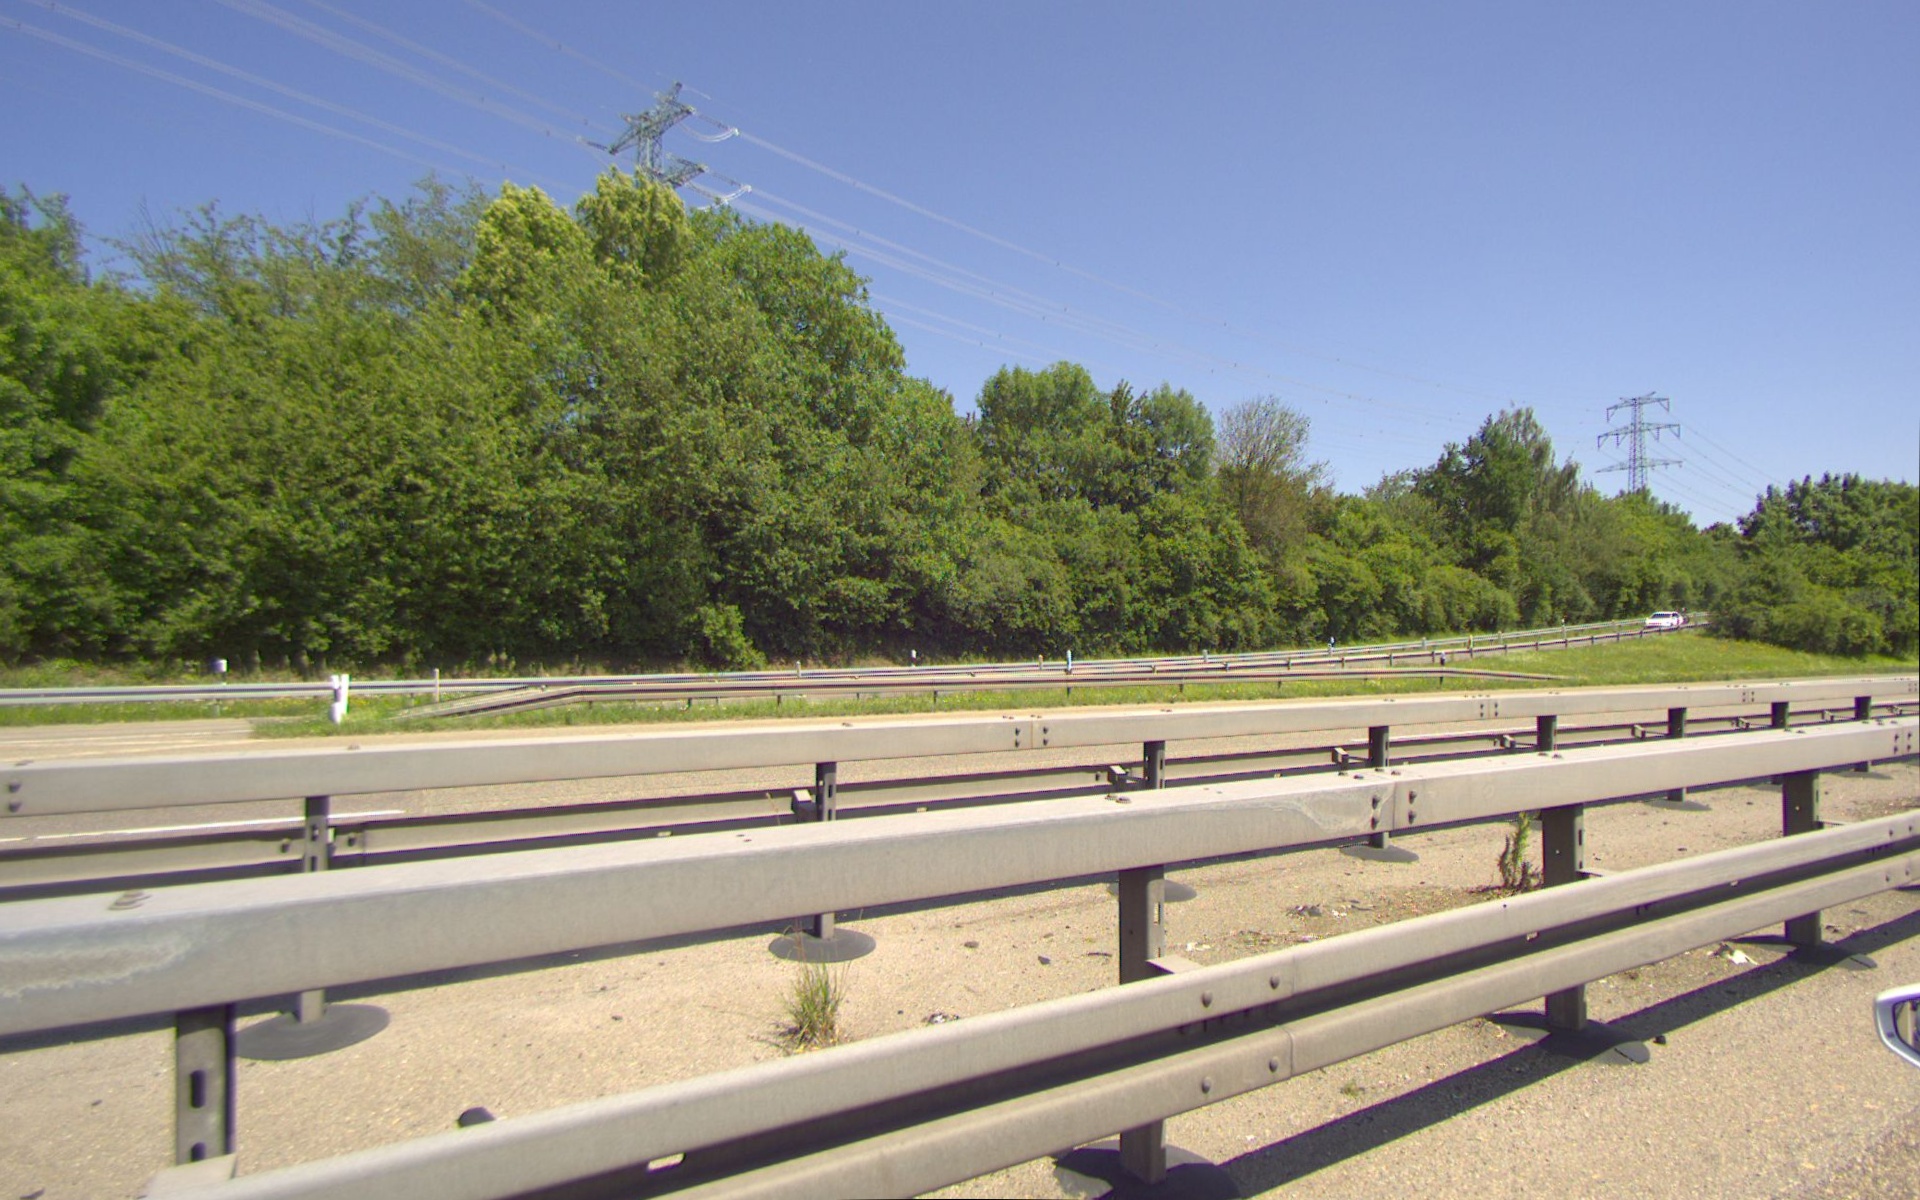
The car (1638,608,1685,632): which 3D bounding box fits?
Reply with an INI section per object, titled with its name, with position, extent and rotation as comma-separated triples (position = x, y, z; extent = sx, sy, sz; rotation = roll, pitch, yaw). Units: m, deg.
[car]
position = 52.924, 1.484, 75.756
extent = 4.858, 1.697, 1.621
rotation = 0, 1, -39
